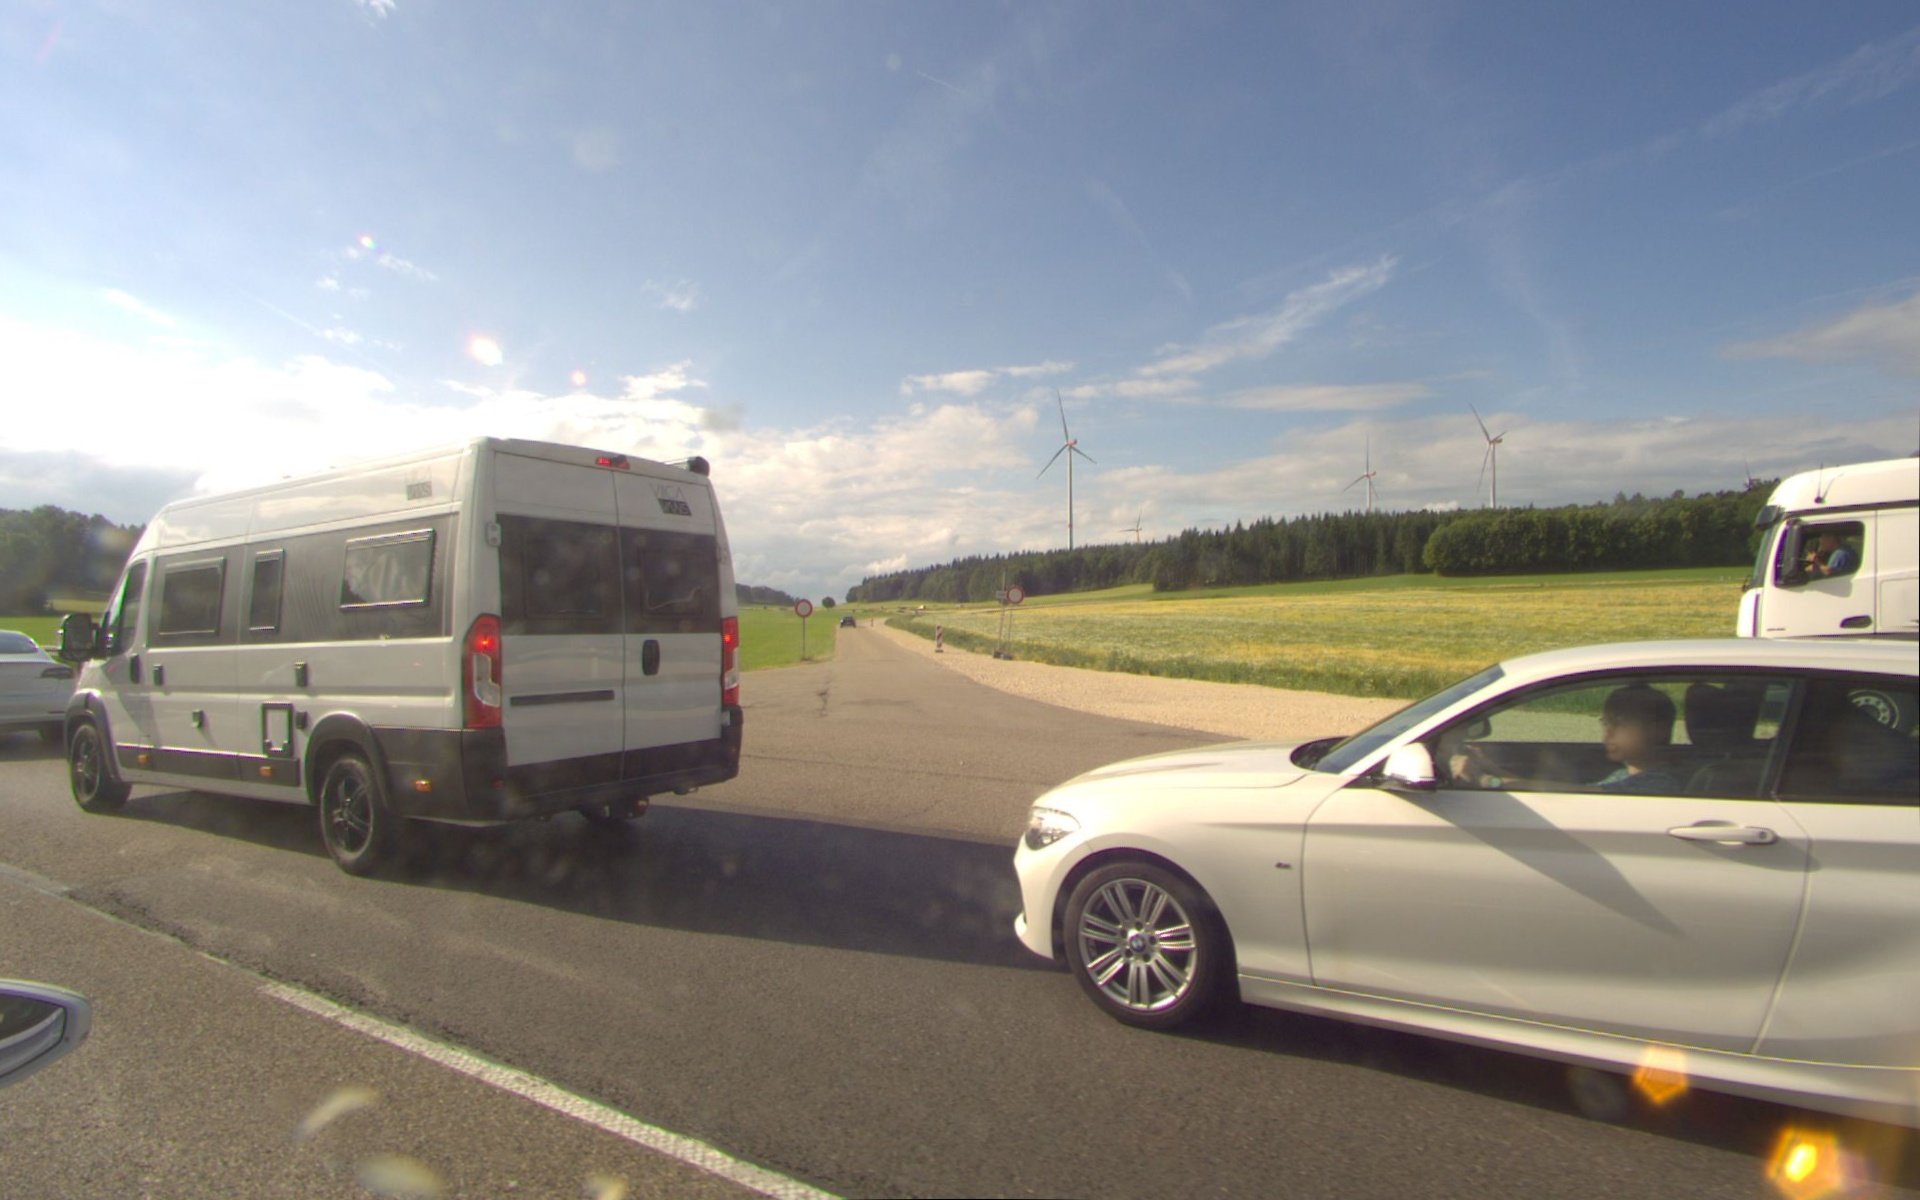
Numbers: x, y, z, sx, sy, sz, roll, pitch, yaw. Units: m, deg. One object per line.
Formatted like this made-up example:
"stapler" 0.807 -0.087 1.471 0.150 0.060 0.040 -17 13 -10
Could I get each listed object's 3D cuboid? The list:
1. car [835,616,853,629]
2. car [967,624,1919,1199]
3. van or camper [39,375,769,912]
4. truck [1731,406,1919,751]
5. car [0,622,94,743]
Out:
"car" -14.192 2.782 122.612 1.798 1.450 4.230 1 -2 -12
"car" 2.238 0.830 3.600 4.172 1.450 1.701 -1 -2 32
"van or camper" -4.538 0.272 7.682 6.242 2.716 2.211 -1 -1 32
"truck" 13.057 -0.235 12.823 2.696 4.227 4.715 1 -1 -43
"car" -13.241 1.007 13.000 4.371 1.412 1.786 0 -1 31
